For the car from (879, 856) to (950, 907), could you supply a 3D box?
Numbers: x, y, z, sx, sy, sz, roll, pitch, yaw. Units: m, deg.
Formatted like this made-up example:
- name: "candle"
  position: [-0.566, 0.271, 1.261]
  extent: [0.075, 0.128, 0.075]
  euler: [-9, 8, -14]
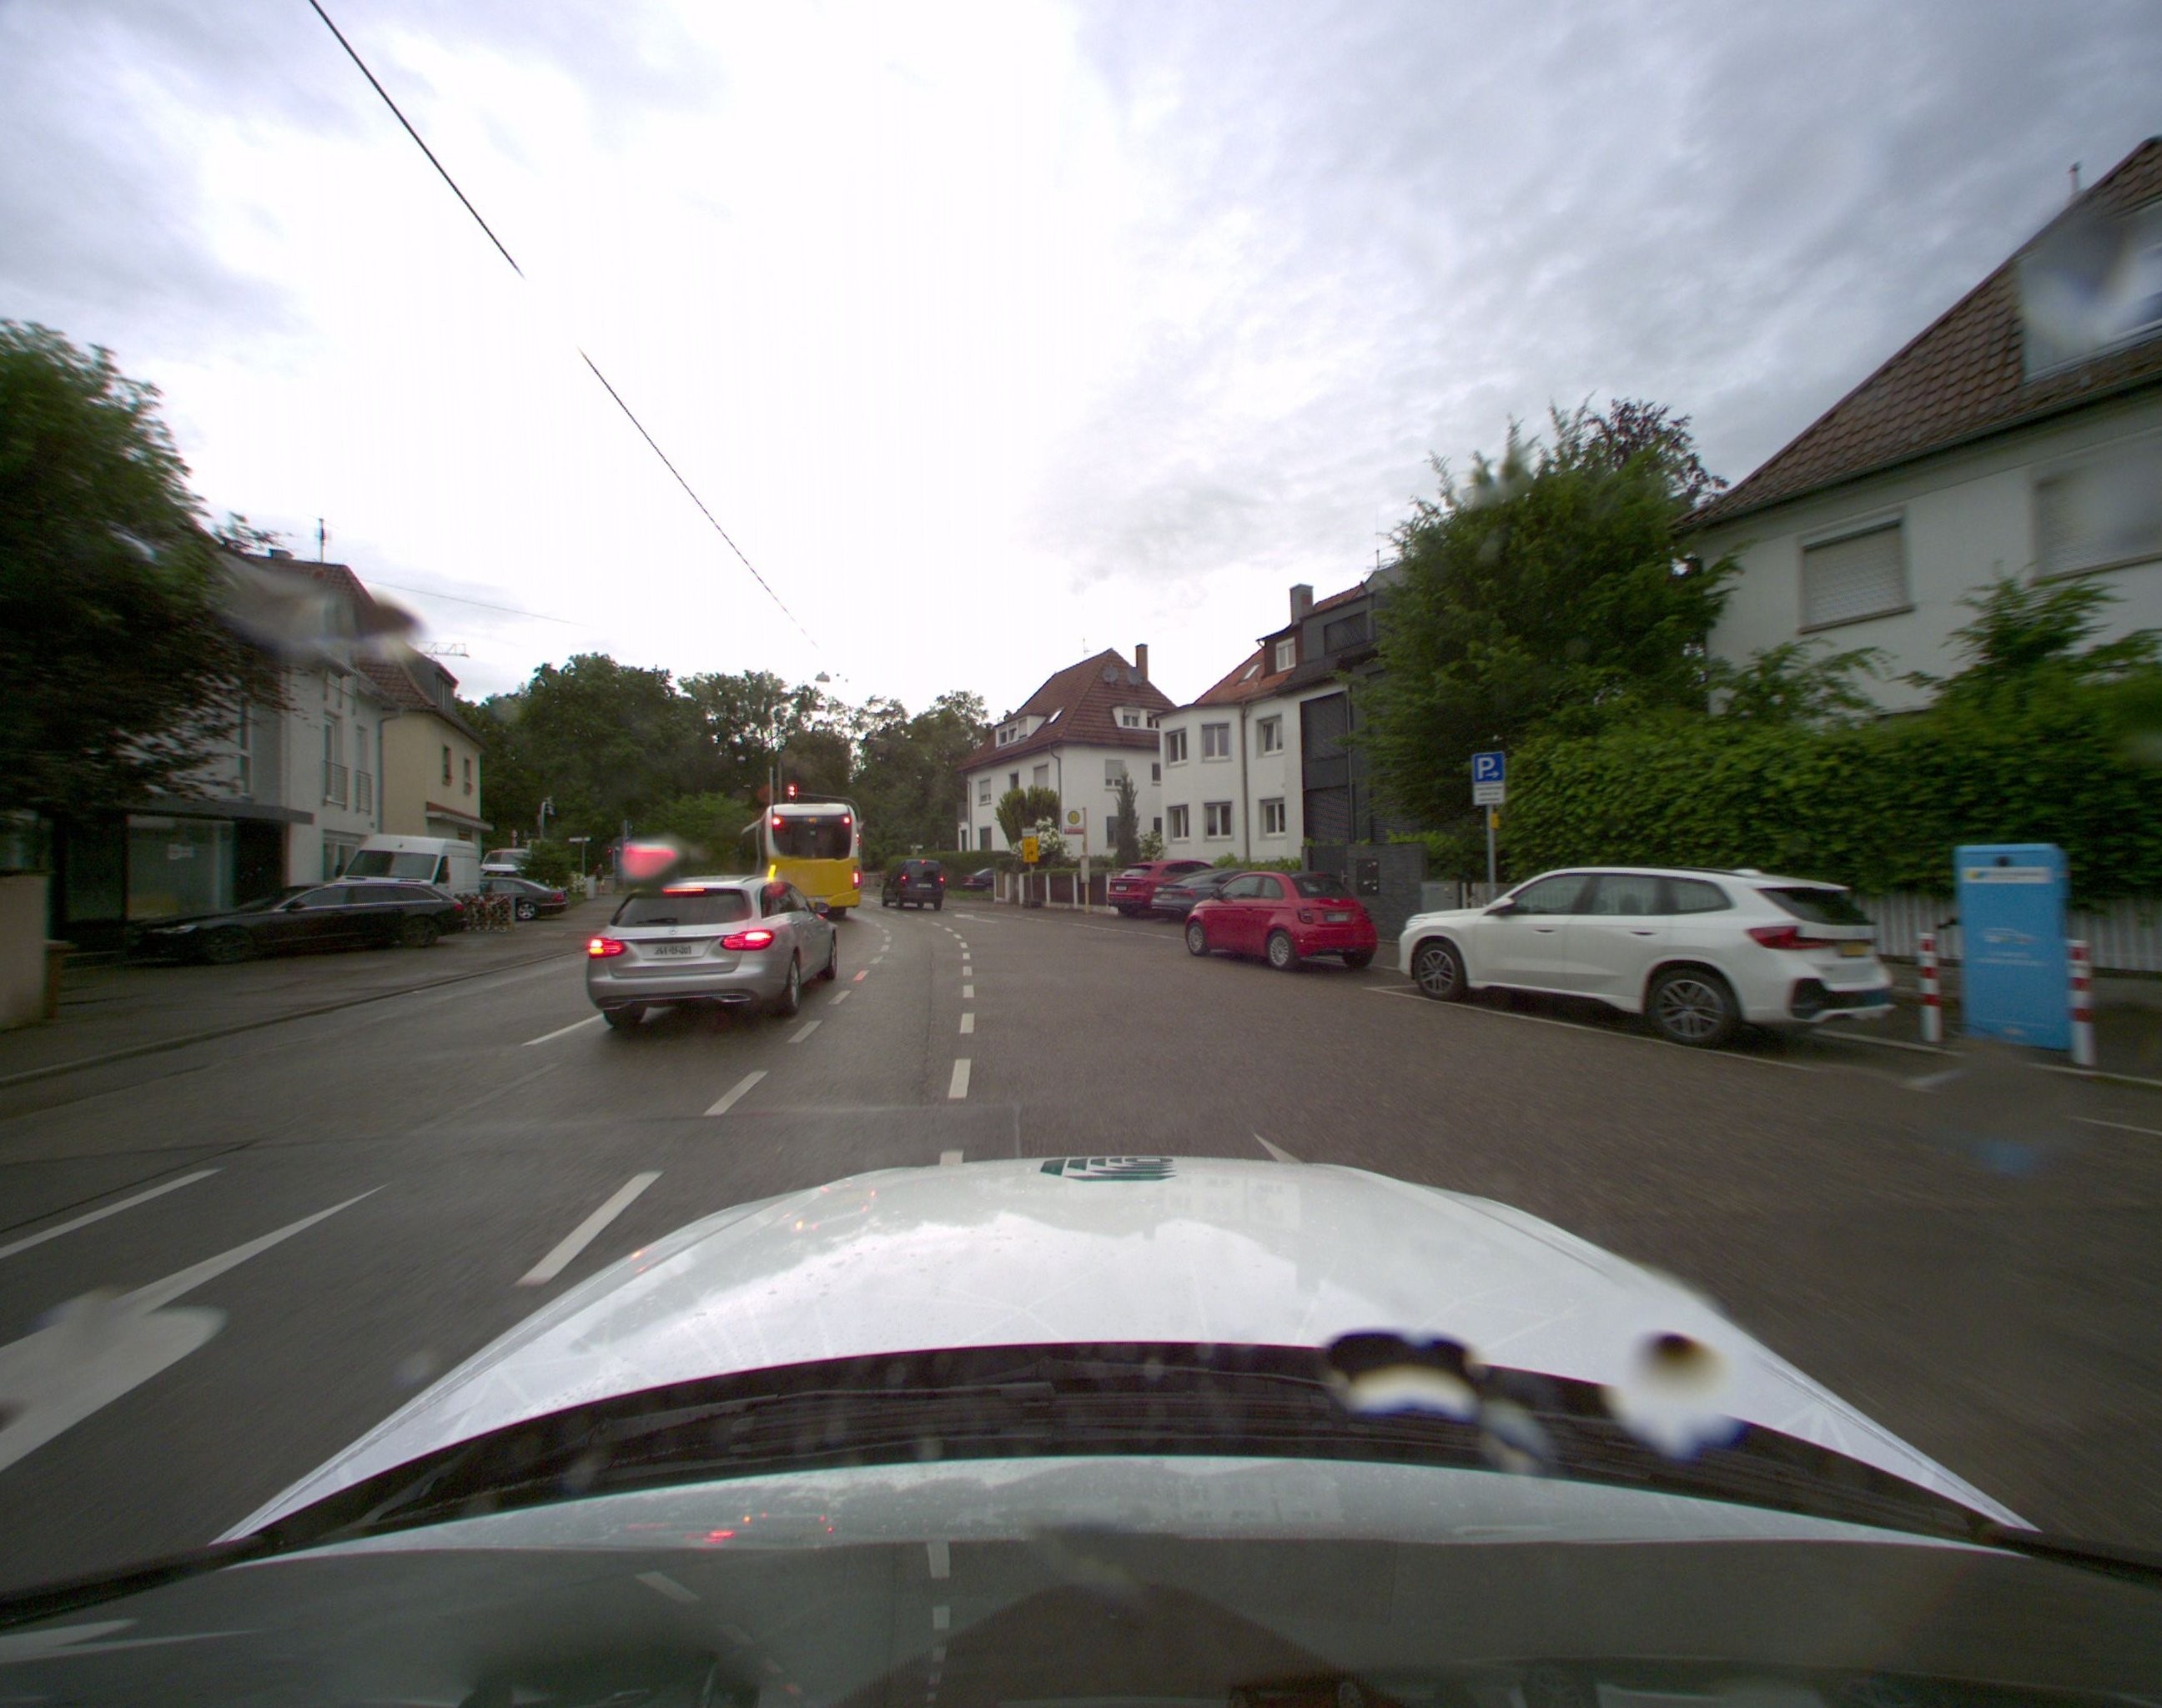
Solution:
- name: "car"
  position: [-6.397, 1.040, 31.002]
  extent: [1.817, 1.797, 3.967]
  euler: [0, -1, -24]

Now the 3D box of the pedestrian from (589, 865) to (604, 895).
- name: "pedestrian"
  position: [-26.845, 1.446, 45.088]
  extent: [0.428, 1.618, 0.603]
  euler: [-1, -2, 43]

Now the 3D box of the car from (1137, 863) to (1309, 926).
- name: "car"
  position: [4.004, 1.043, 22.679]
  extent: [4.580, 1.416, 1.979]
  euler: [-2, 1, -33]

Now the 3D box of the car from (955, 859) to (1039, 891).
- name: "car"
  position: [-4.061, 0.975, 39.688]
  extent: [3.765, 1.388, 1.602]
  euler: [-1, 2, -29]

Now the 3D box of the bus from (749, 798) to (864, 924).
- name: "bus"
  position: [-9.190, 0.209, 26.550]
  extent: [2.689, 3.398, 8.610]
  euler: [-1, 0, -24]

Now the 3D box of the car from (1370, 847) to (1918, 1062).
- name: "car"
  position: [5.540, 0.814, 8.806]
  extent: [1.754, 1.672, 4.605]
  euler: [1, -1, -28]

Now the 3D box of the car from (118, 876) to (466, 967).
- name: "car"
  position: [-15.642, 1.224, 16.514]
  extent: [1.781, 1.495, 4.711]
  euler: [1, -1, 29]

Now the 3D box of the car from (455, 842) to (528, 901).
- name: "car"
  position: [-26.367, 0.784, 36.602]
  extent: [2.006, 2.448, 5.442]
  euler: [1, -1, -29]

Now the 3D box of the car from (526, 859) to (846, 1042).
- name: "car"
  position: [-4.064, 0.839, 9.340]
  extent: [1.992, 1.479, 4.473]
  euler: [-1, 0, -8]

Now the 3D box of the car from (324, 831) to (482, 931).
- name: "car"
  position: [-18.884, 0.713, 23.032]
  extent: [2.003, 2.448, 5.449]
  euler: [1, -1, -24]

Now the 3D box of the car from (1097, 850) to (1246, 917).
- name: "car"
  position: [2.753, 0.810, 24.509]
  extent: [4.101, 1.750, 1.980]
  euler: [-2, 0, -32]

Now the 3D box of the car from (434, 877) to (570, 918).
- name: "car"
  position: [-20.602, 1.514, 29.096]
  extent: [3.847, 1.344, 1.784]
  euler: [1, -1, -37]

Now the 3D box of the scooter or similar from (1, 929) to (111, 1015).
- name: "scooter or similar"
  position: [-12.349, 1.408, 9.829]
  extent: [0.539, 0.965, 0.593]
  euler: [-1, -2, 7]

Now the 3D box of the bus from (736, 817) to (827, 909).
- name: "bus"
  position: [-12.900, 0.353, 34.558]
  extent: [2.914, 3.398, 8.966]
  euler: [-1, 0, -25]

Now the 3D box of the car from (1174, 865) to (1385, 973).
- name: "car"
  position: [3.174, 0.966, 13.670]
  extent: [1.619, 1.537, 3.511]
  euler: [1, -1, -25]
